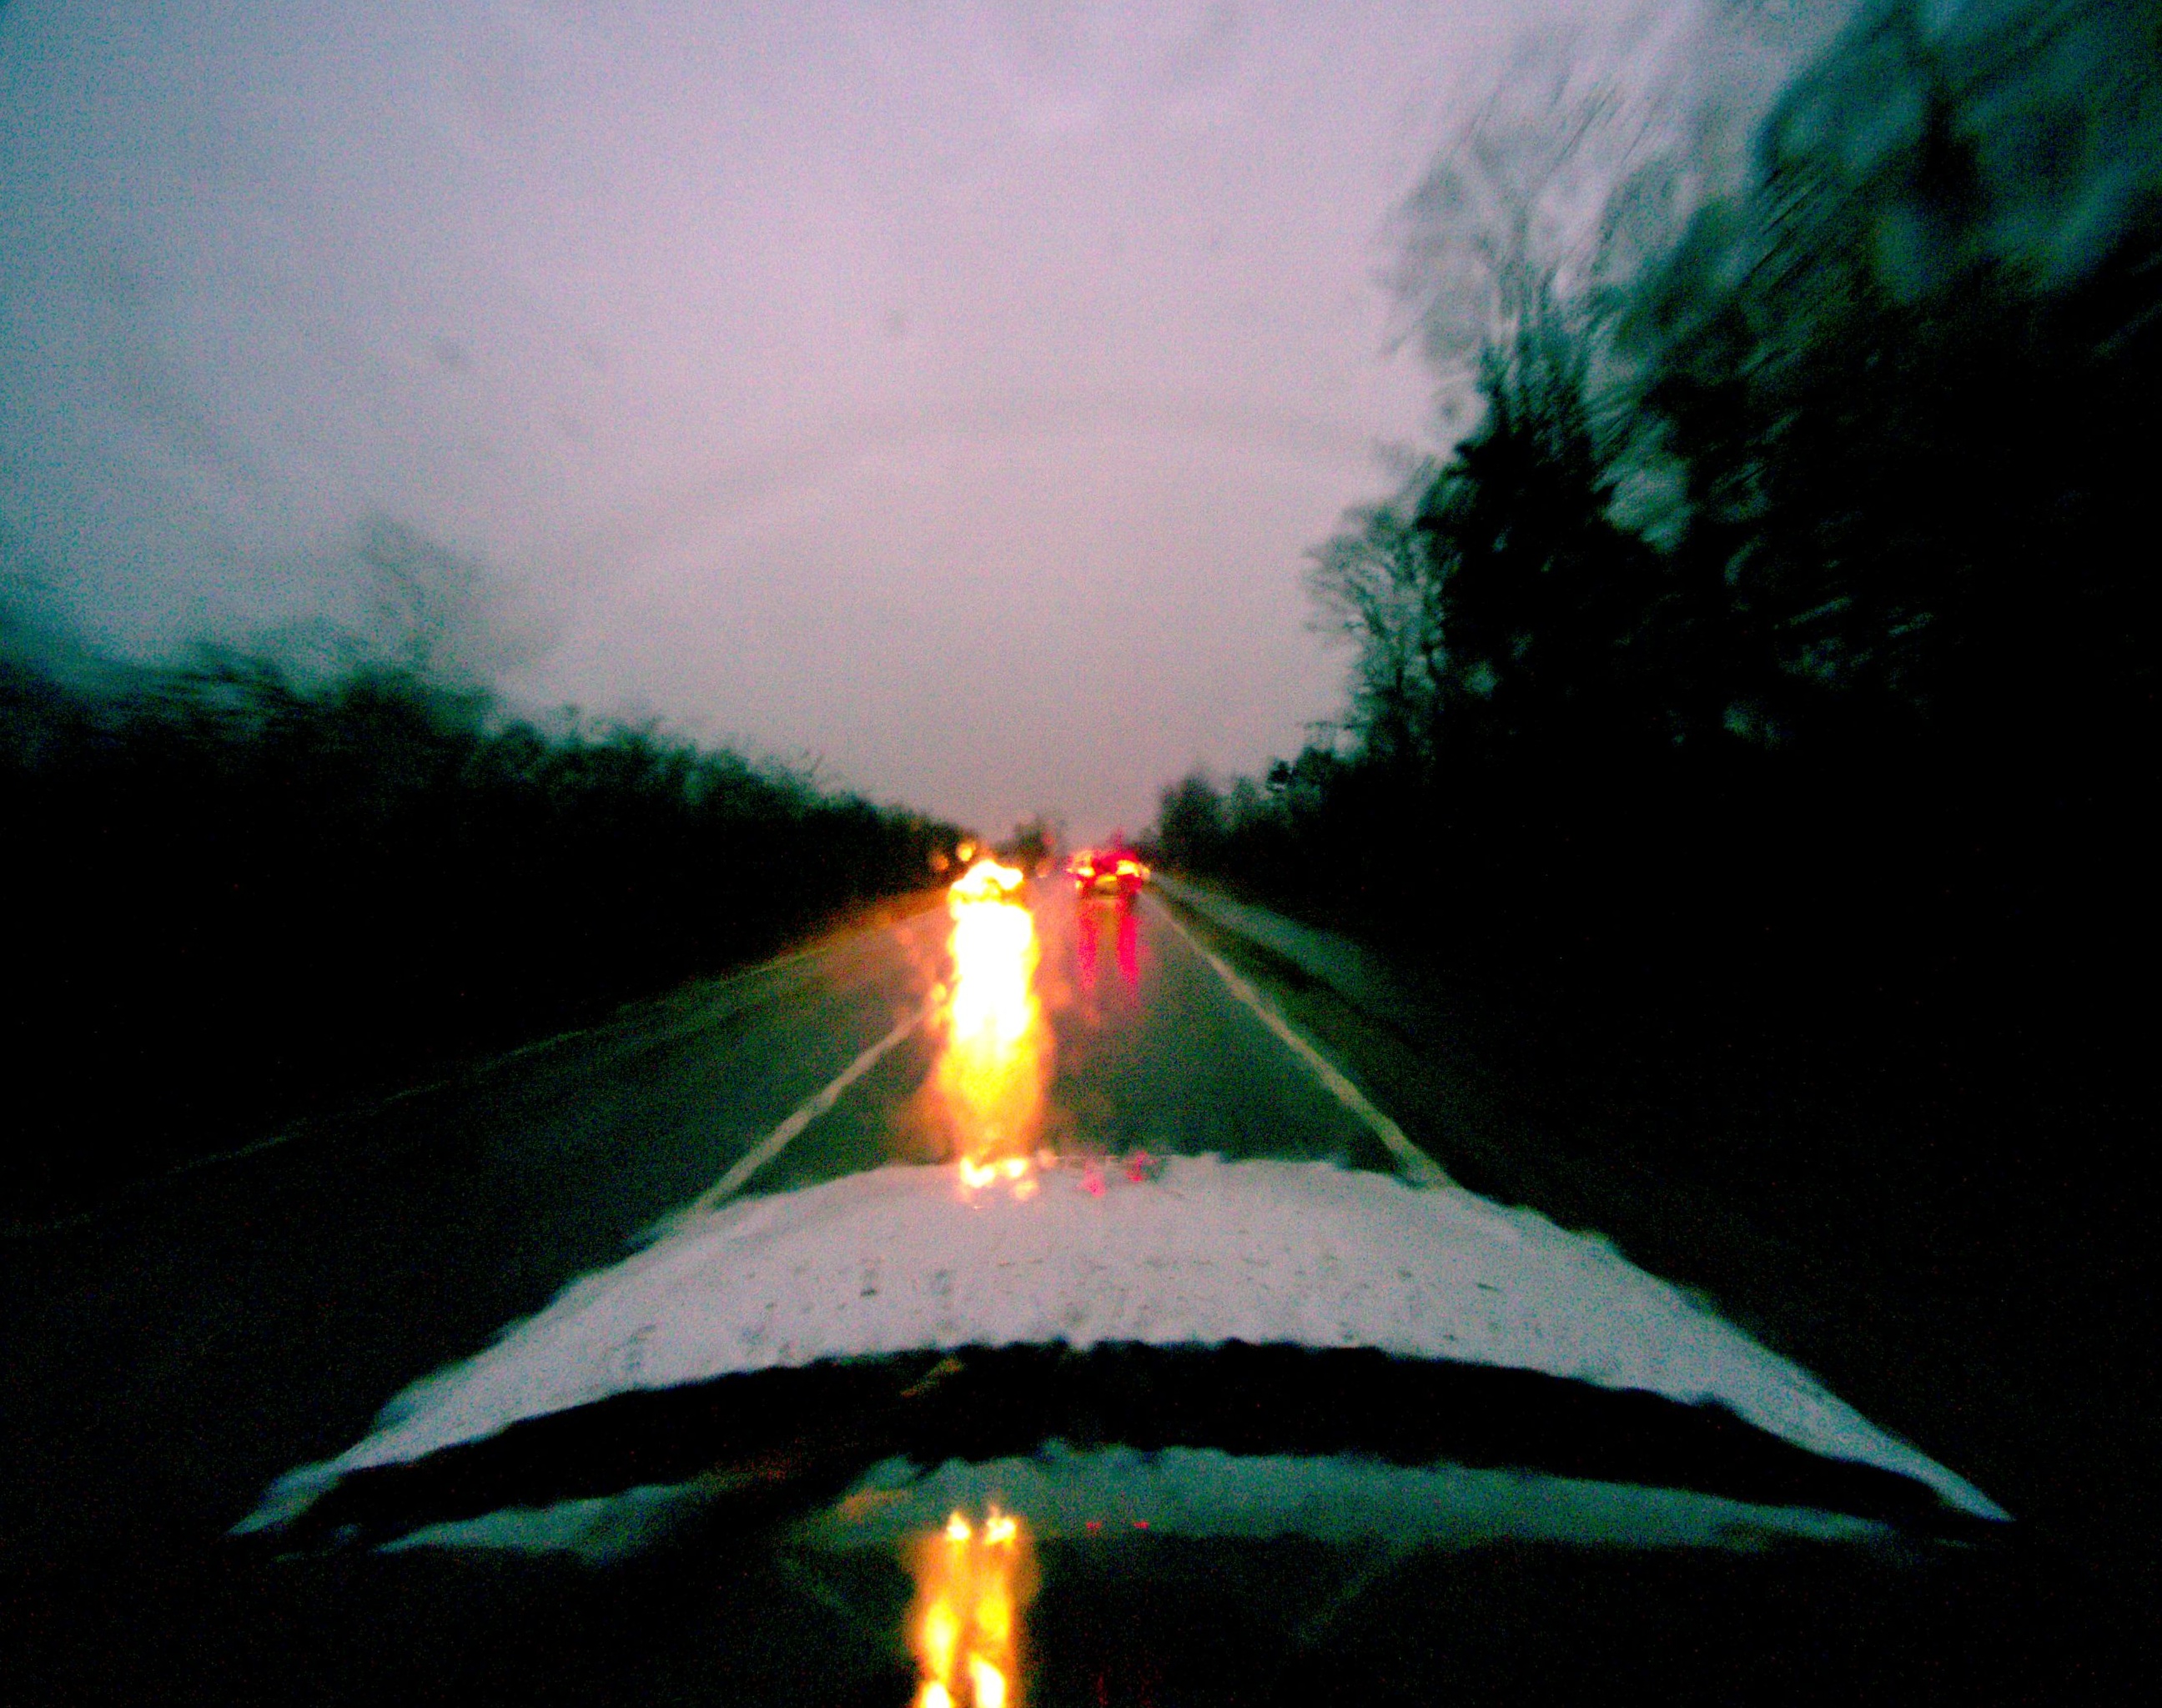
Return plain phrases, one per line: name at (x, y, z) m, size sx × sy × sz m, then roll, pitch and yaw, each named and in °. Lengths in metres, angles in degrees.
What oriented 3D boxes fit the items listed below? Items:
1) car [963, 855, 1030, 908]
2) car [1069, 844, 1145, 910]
car at (-2.877, 0.903, 28.490) m, size 1.761 × 1.598 × 4.000 m, roll -4°, pitch 0°, yaw 1°
car at (0.796, 0.640, 25.331) m, size 2.112 × 1.820 × 4.981 m, roll -1°, pitch 0°, yaw 1°
